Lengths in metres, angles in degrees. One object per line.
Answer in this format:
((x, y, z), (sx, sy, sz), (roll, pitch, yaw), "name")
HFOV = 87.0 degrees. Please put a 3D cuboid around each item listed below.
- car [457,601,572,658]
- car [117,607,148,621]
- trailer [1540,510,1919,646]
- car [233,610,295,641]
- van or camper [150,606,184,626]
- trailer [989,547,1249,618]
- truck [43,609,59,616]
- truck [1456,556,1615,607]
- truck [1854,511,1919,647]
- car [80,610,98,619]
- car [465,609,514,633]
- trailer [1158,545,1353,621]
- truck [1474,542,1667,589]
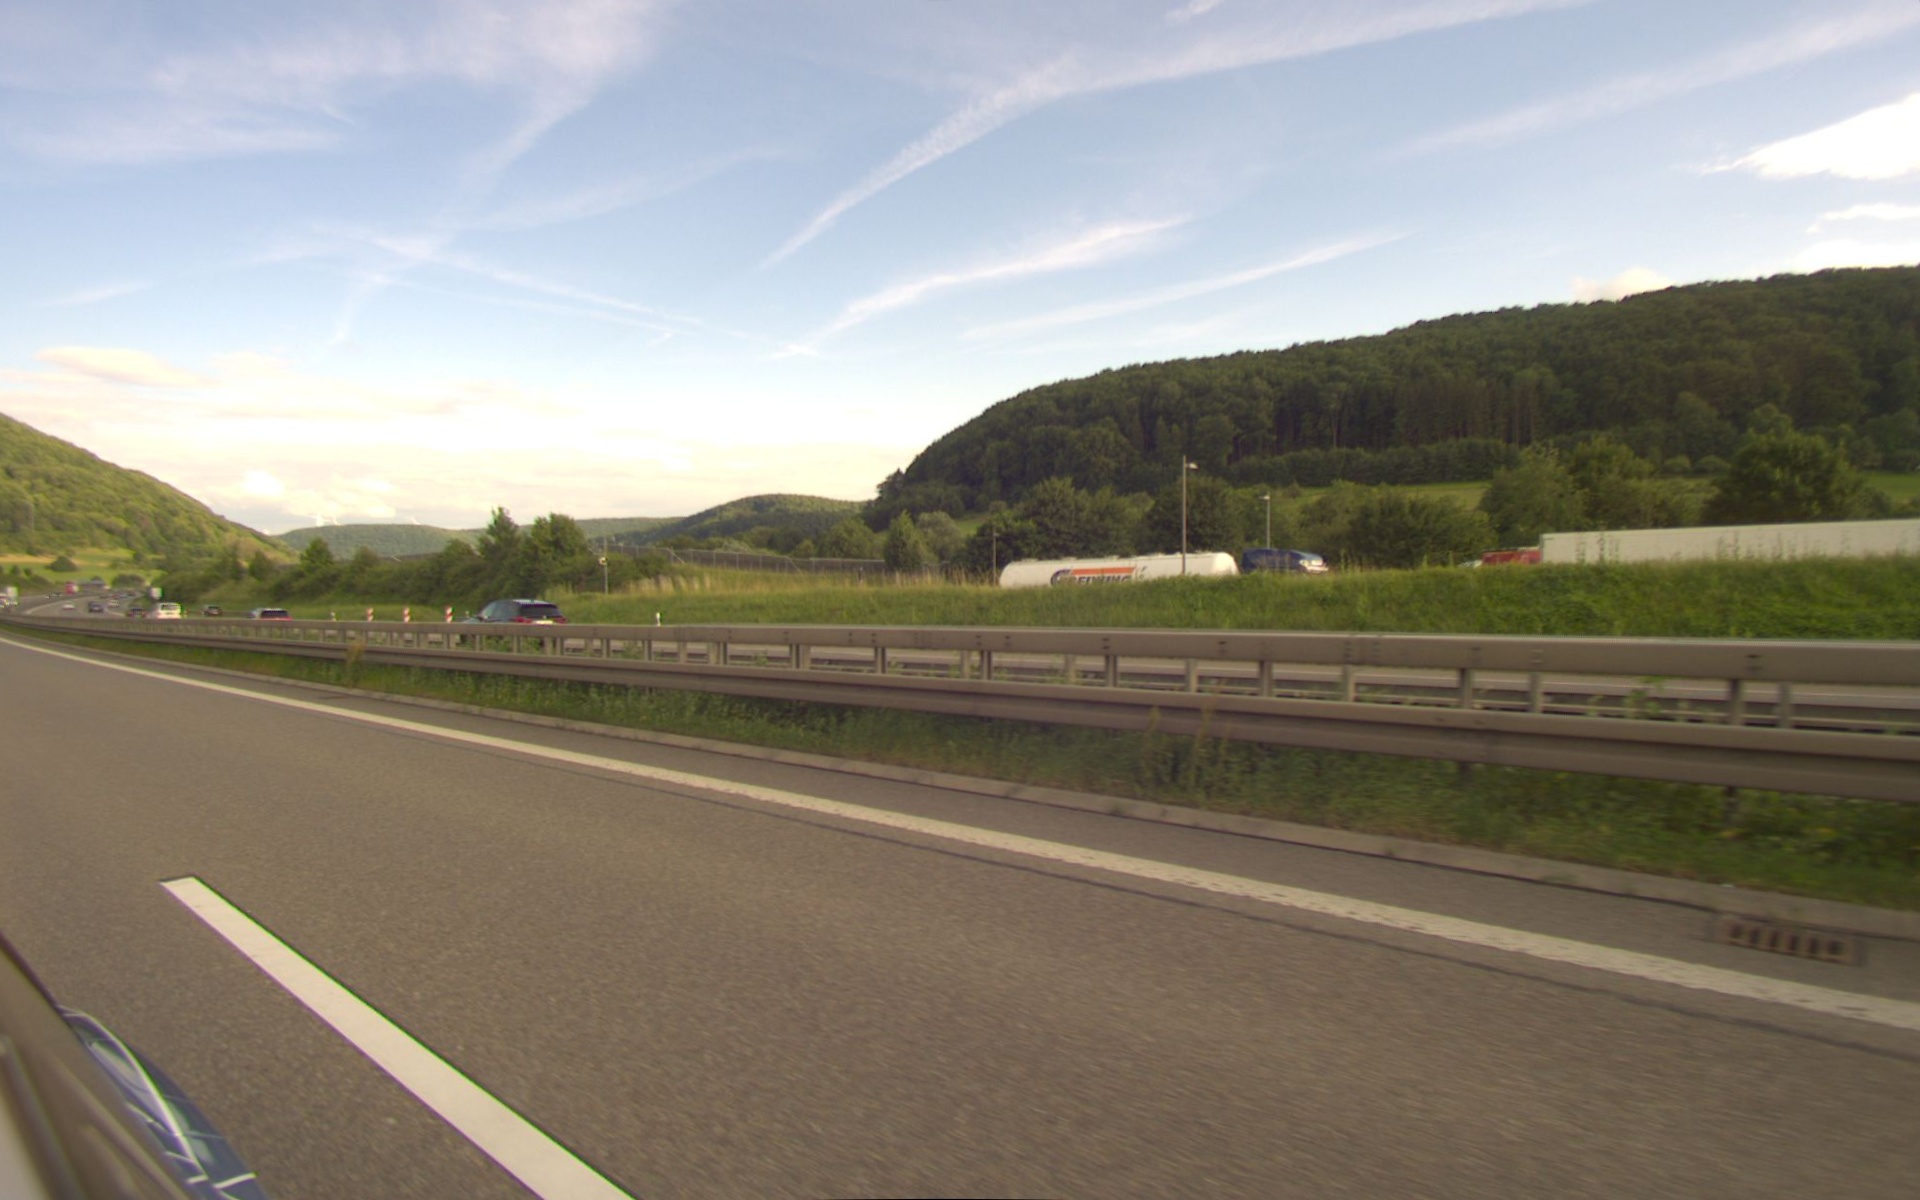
((-14.371, 0.880, 32.570), (4.340, 1.626, 1.788), (1, 1, 42), "car")
((-96.643, 1.658, 118.199), (4.689, 1.508, 1.973), (-1, 0, 40), "car")
((25.436, -0.545, 30.376), (13.663, 3.724, 2.848), (-1, -2, 40), "trailer")
((-36.045, 1.329, 52.382), (4.216, 1.541, 1.820), (-1, -2, 44), "car")
((-76.209, 1.531, 97.248), (4.755, 1.887, 1.894), (-1, -1, 43), "van or camper")
((6.862, -0.802, 46.169), (12.257, 2.875, 2.552), (1, 1, 41), "trailer")
((-180.946, 2.435, 201.453), (4.647, 1.375, 1.971), (0, 0, 44), "truck")
((44.841, -1.410, 78.958), (11.207, 3.885, 2.590), (0, 1, -5), "truck")
((29.555, -0.572, 26.911), (8.486, 3.719, 2.852), (-1, -2, 40), "truck")
((-150.489, 2.586, 174.849), (4.497, 1.508, 1.776), (-1, 0, 40), "car")
((-31.555, 1.412, 68.051), (1.967, 1.563, 4.630), (0, -1, -12), "car")
((12.032, -0.704, 41.638), (7.302, 2.875, 2.585), (1, 1, 41), "trailer")
((27.852, -1.553, 46.376), (7.196, 2.029, 2.904), (0, 1, -5), "truck")
